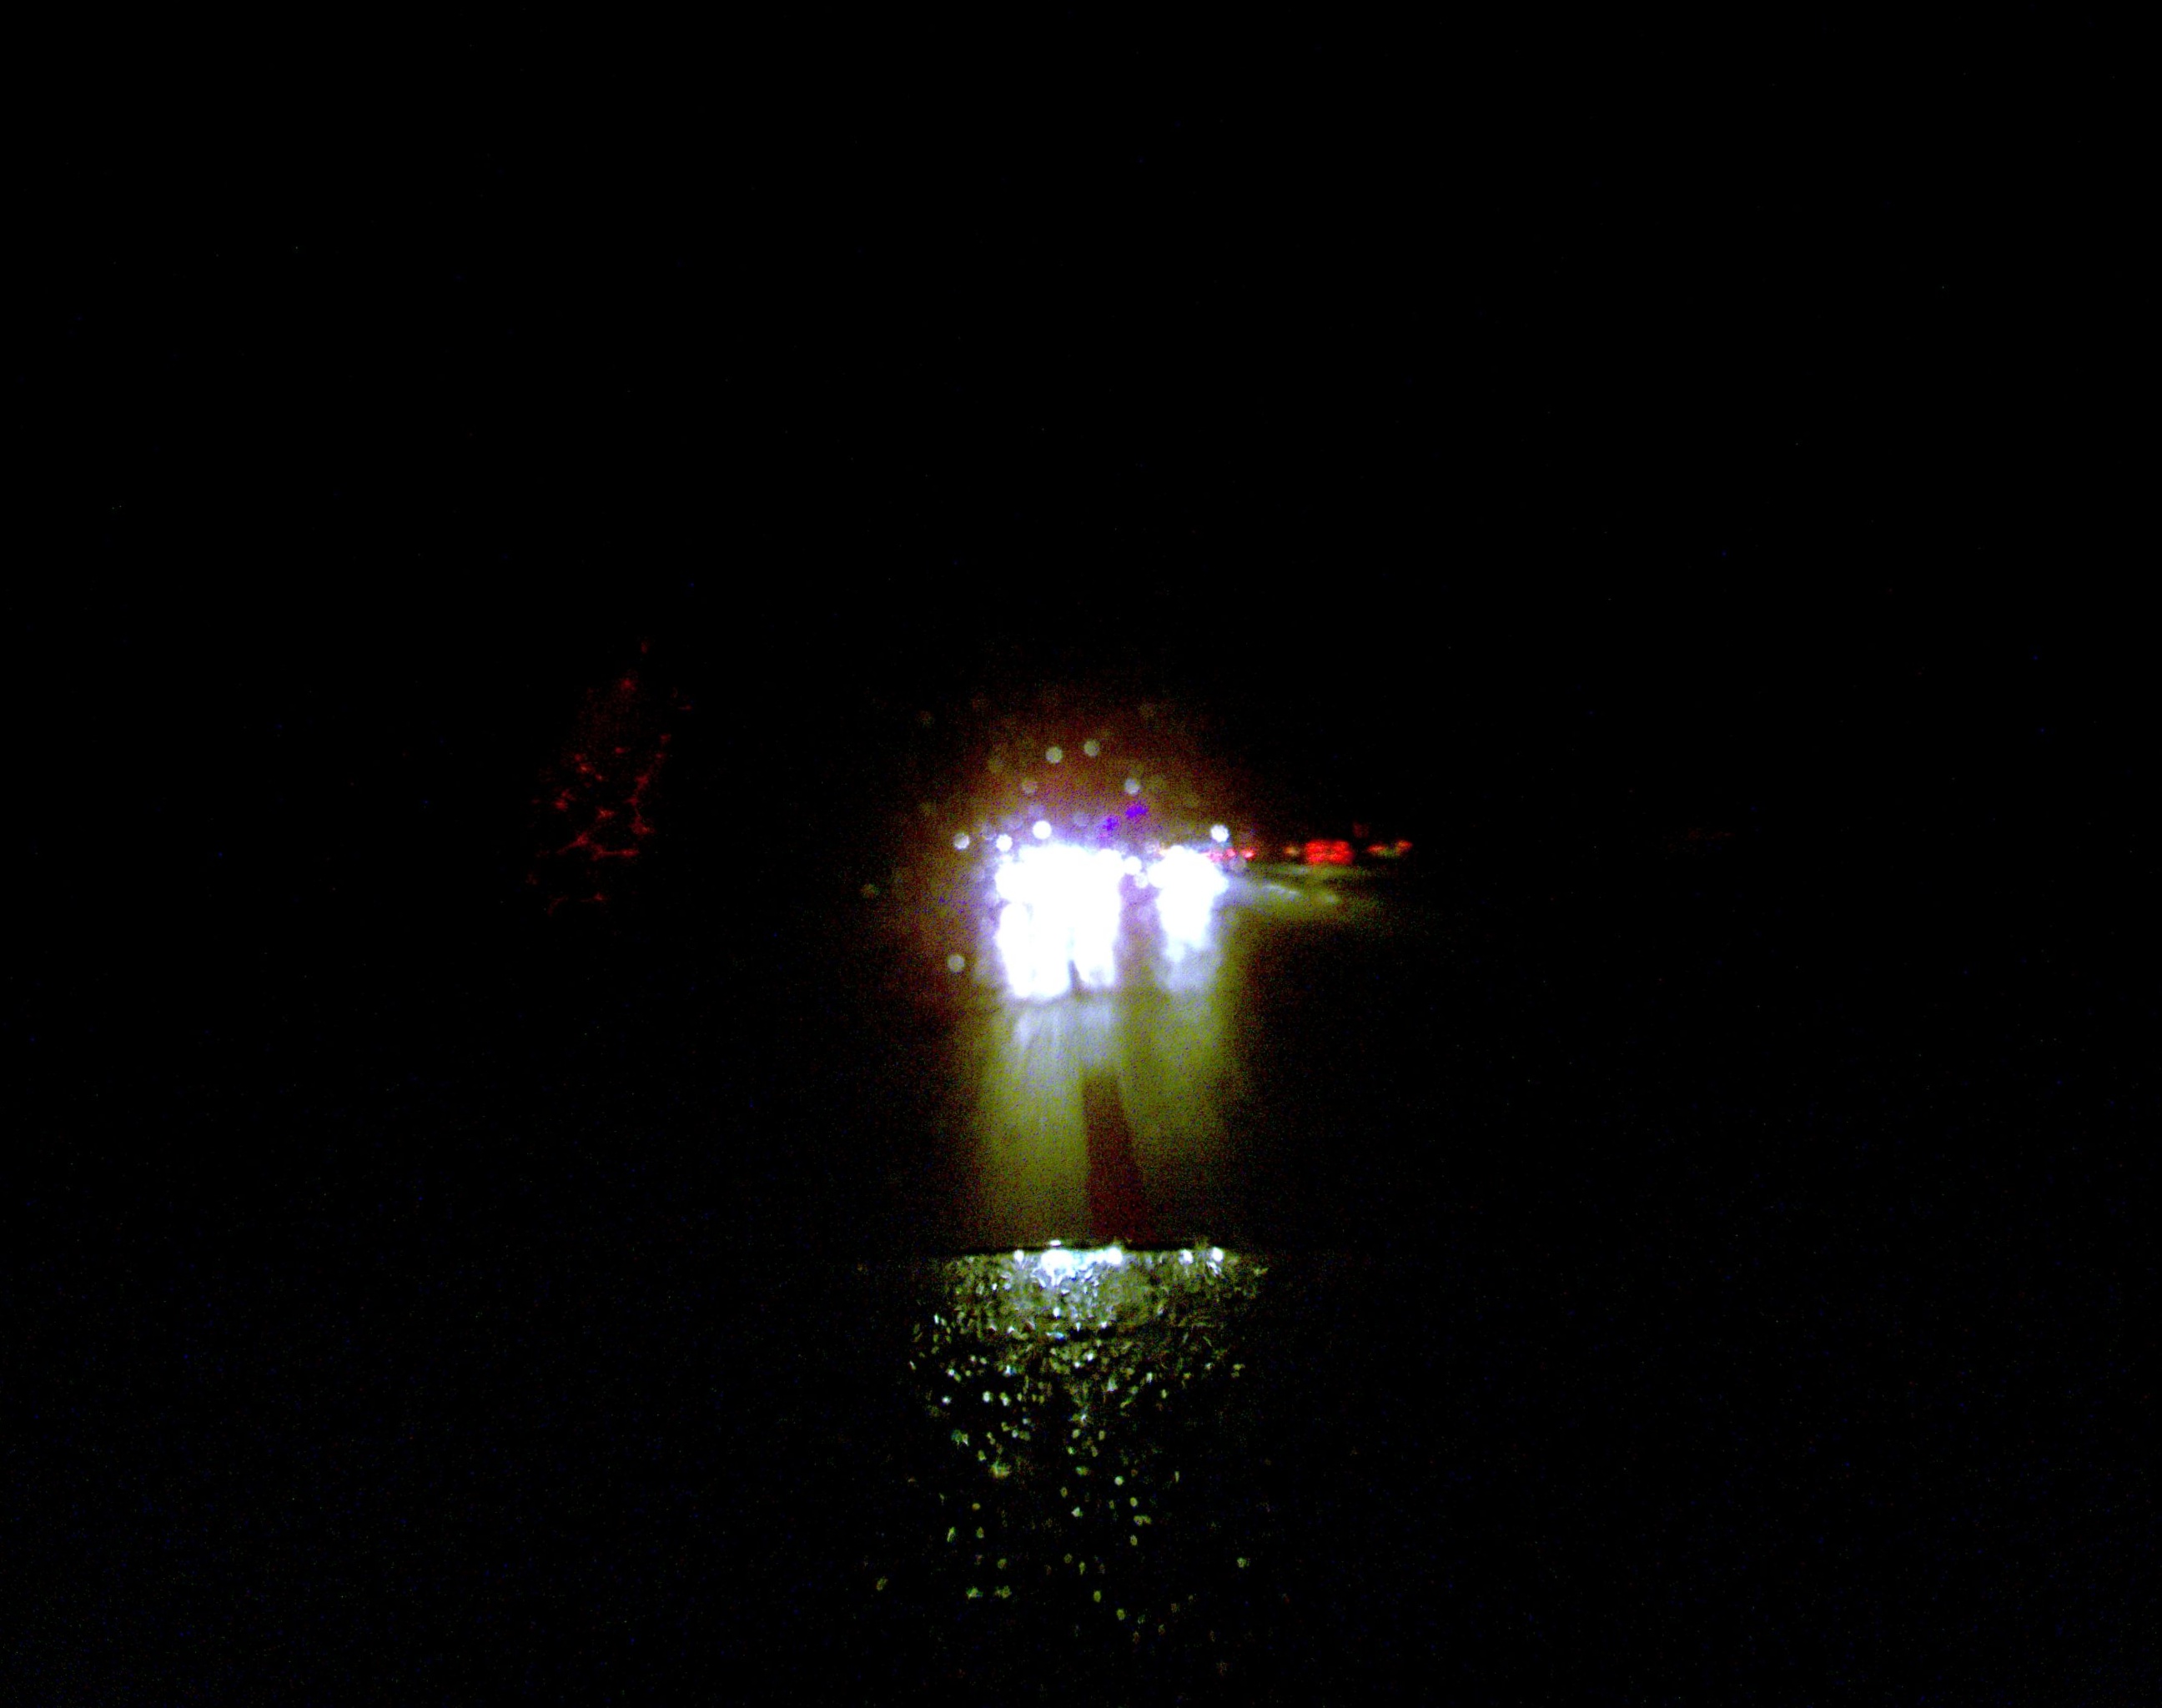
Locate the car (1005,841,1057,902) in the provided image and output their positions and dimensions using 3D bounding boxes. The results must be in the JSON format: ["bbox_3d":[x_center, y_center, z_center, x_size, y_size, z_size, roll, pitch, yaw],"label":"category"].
[{"bbox_3d":[-1.856,0.624,29.328,1.754,2.092,4.462,-2,0,-1],"label":"car"}]

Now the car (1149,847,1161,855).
[{"bbox_3d":[16.437,-0.702,169.226,1.999,1.488,3.999,-3,1,-1],"label":"car"}]

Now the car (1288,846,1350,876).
[{"bbox_3d":[13.158,0.343,42.305,1.887,1.500,4.305,-3,1,-2],"label":"car"}]

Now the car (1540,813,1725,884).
[{"bbox_3d":[16.943,-0.192,23.763,1.992,1.899,5.135,-3,1,0],"label":"car"}]

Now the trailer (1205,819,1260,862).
[{"bbox_3d":[16.321,-1.361,82.886,3.363,4.149,11.719,-3,0,0],"label":"trailer"}]

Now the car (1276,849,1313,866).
[{"bbox_3d":[18.672,0.288,66.679,1.844,1.386,4.167,-3,0,-3],"label":"car"}]

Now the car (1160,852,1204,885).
[{"bbox_3d":[5.136,0.730,39.064,1.654,1.566,3.849,-2,0,-1],"label":"car"}]

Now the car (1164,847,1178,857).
[{"bbox_3d":[14.812,-0.368,124.666,1.710,1.488,3.717,-3,1,-2],"label":"car"}]

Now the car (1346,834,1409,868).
[{"bbox_3d":[18.141,-0.198,46.742,1.896,1.899,4.842,-3,1,0],"label":"car"}]

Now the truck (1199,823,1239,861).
[{"bbox_3d":[16.263,-1.341,90.129,3.373,4.149,6.463,-3,0,-1],"label":"truck"}]

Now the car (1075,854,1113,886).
[{"bbox_3d":[0.645,0.843,42.087,1.848,1.532,3.998,-3,1,-2],"label":"car"}]
